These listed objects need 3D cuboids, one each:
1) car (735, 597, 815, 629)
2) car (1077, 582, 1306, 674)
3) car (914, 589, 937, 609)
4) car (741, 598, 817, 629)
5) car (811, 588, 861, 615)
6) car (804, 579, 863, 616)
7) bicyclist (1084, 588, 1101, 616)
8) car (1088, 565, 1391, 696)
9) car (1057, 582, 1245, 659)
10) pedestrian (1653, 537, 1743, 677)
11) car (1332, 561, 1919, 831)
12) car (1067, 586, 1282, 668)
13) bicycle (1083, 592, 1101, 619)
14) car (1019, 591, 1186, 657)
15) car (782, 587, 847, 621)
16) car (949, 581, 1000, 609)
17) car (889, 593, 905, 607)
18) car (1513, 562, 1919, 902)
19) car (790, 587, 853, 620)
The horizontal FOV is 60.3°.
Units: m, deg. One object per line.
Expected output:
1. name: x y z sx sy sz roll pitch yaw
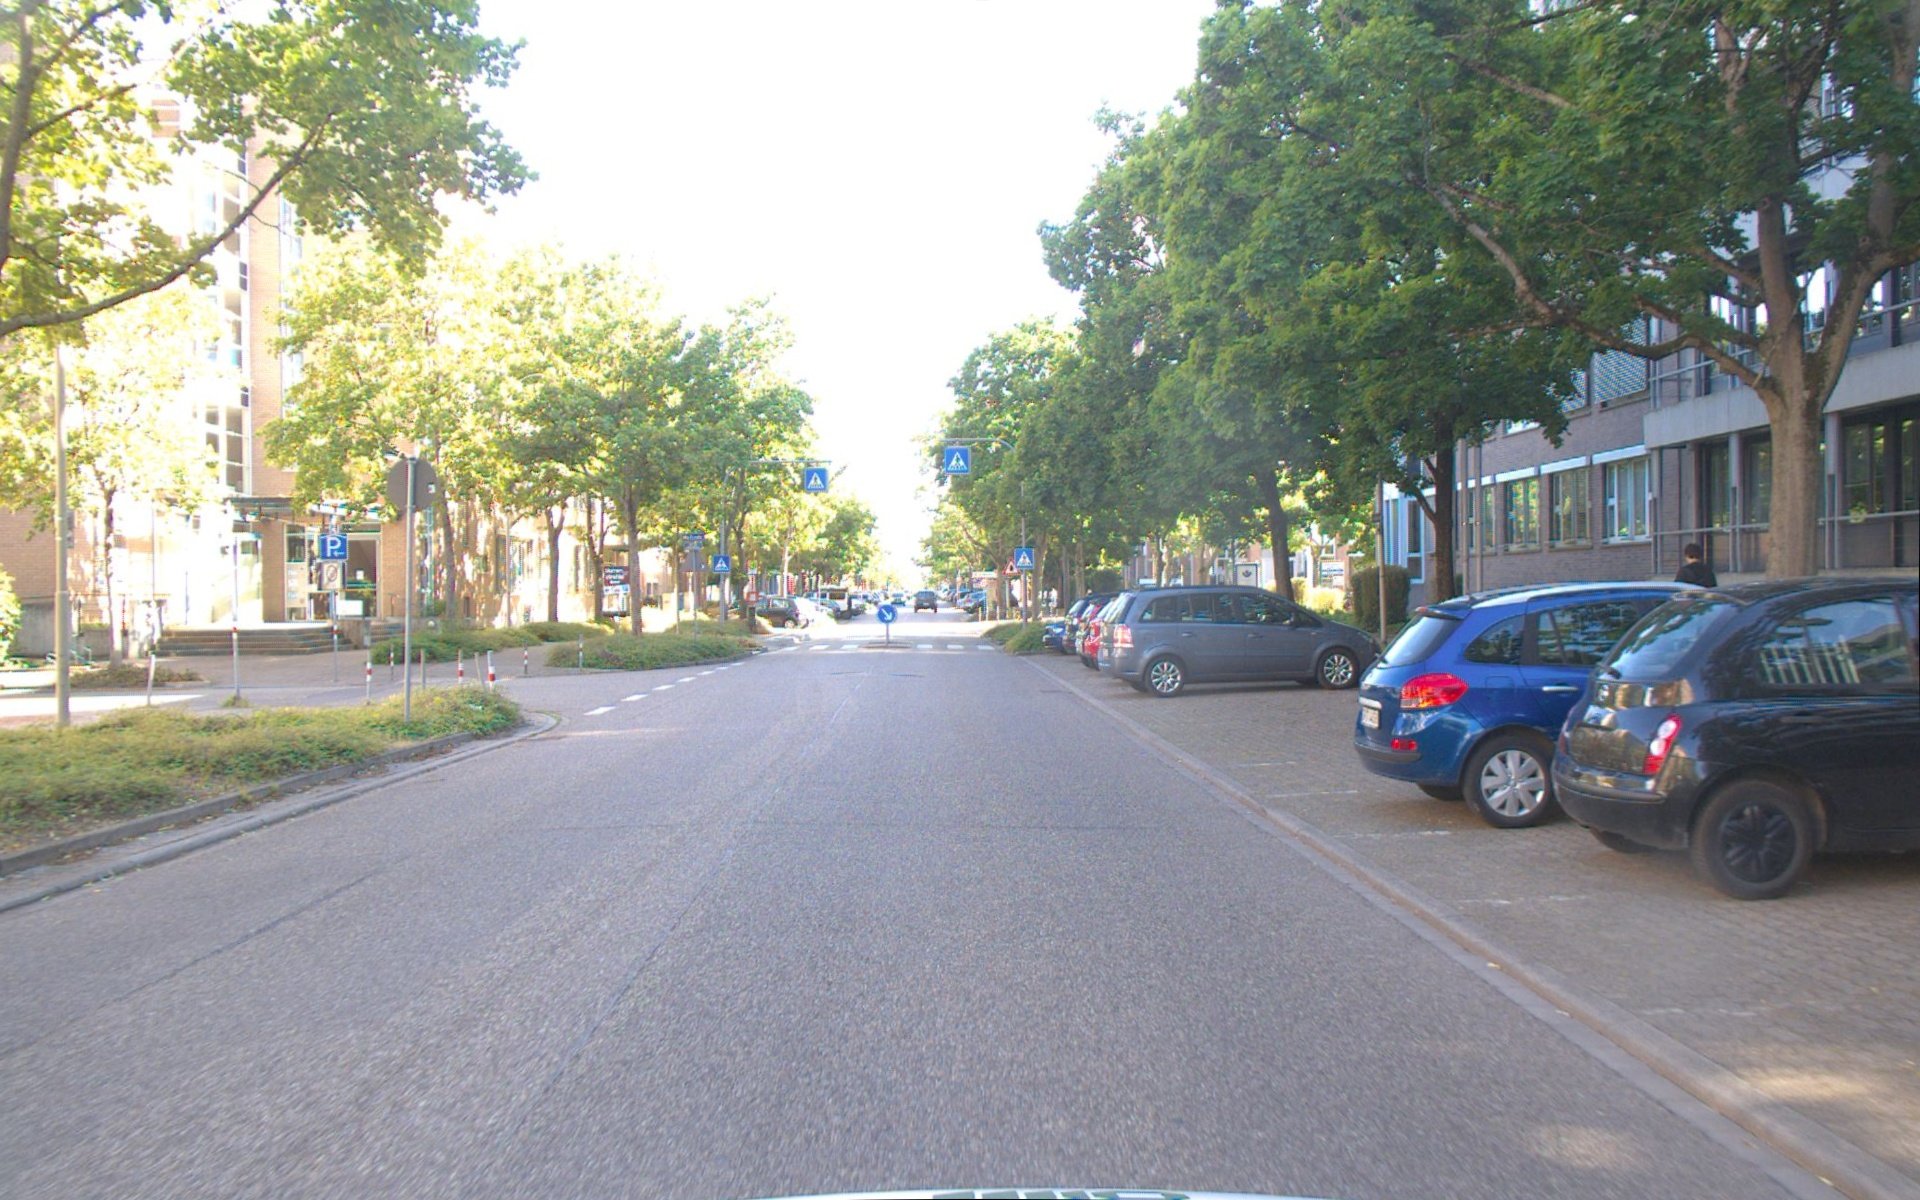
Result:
1. car: -8.963 0.627 79.833 3.777 1.499 1.809 1 0 -9
2. car: 4.499 0.529 32.496 4.109 1.562 1.811 -3 0 -4
3. car: -2.968 -0.098 141.038 1.953 1.668 3.999 1 0 -1
4. car: -9.239 0.679 84.401 3.775 1.499 1.810 1 0 -8
5. car: -10.073 0.124 134.463 3.907 2.049 1.999 -1 0 -3
6. car: -8.809 -0.167 115.291 3.903 2.586 1.863 0 0 3
7. bicyclist: 6.112 0.087 76.507 0.683 1.236 0.946 -1 0 9
8. car: 4.266 0.447 25.609 4.266 1.733 1.811 -3 0 -4
9. car: 4.467 0.472 39.096 4.109 1.562 1.811 -3 0 -4
10. pedestrian: 9.733 0.090 21.841 0.595 1.776 1.191 -1 0 -1
11. car: 4.723 0.593 11.392 3.869 1.541 1.812 -3 0 0
12. car: 4.424 0.548 34.494 4.109 1.474 1.811 -3 0 -4
13. bicycle: 6.115 0.243 76.523 0.669 1.236 1.978 -1 0 9
14. car: 3.734 0.618 43.793 4.109 1.498 1.811 -3 0 -4
15. car: -9.400 0.254 107.247 3.904 2.049 2.001 -2 0 3
16. car: 1.129 -0.385 129.725 3.907 2.049 1.999 -1 0 -3
17. car: -7.286 0.043 191.887 1.776 1.551 3.999 -1 0 -1
18. car: 5.074 0.578 8.837 3.568 1.541 1.812 -3 0 -1
19. car: -9.195 0.233 110.093 3.904 2.049 2.001 -2 0 3
